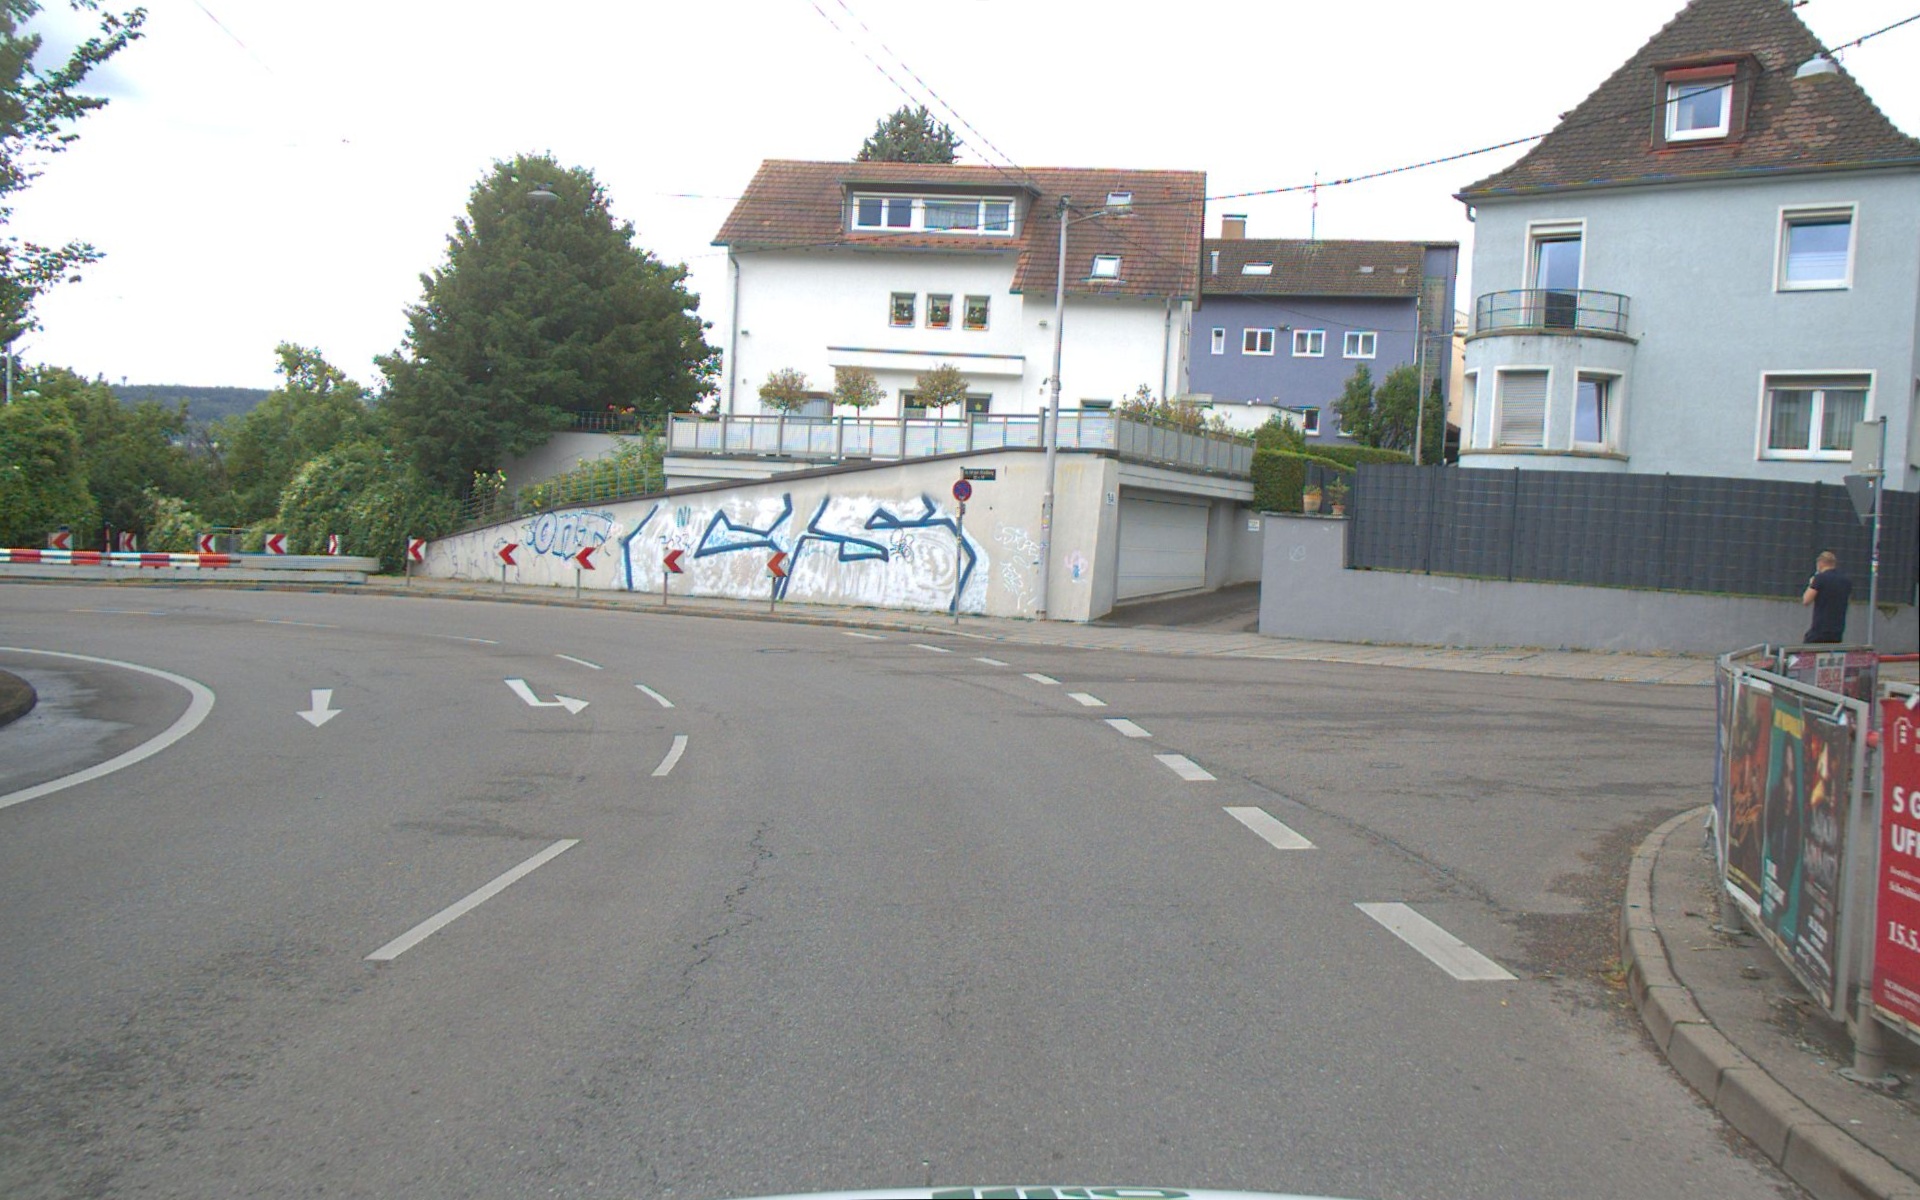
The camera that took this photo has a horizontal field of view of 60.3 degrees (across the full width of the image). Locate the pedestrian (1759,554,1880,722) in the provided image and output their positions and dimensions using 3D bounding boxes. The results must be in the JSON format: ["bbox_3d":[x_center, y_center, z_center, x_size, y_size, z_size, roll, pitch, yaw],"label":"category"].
[{"bbox_3d":[9.880,0.411,19.021,0.998,1.842,0.815,3,2,45],"label":"pedestrian"}]
